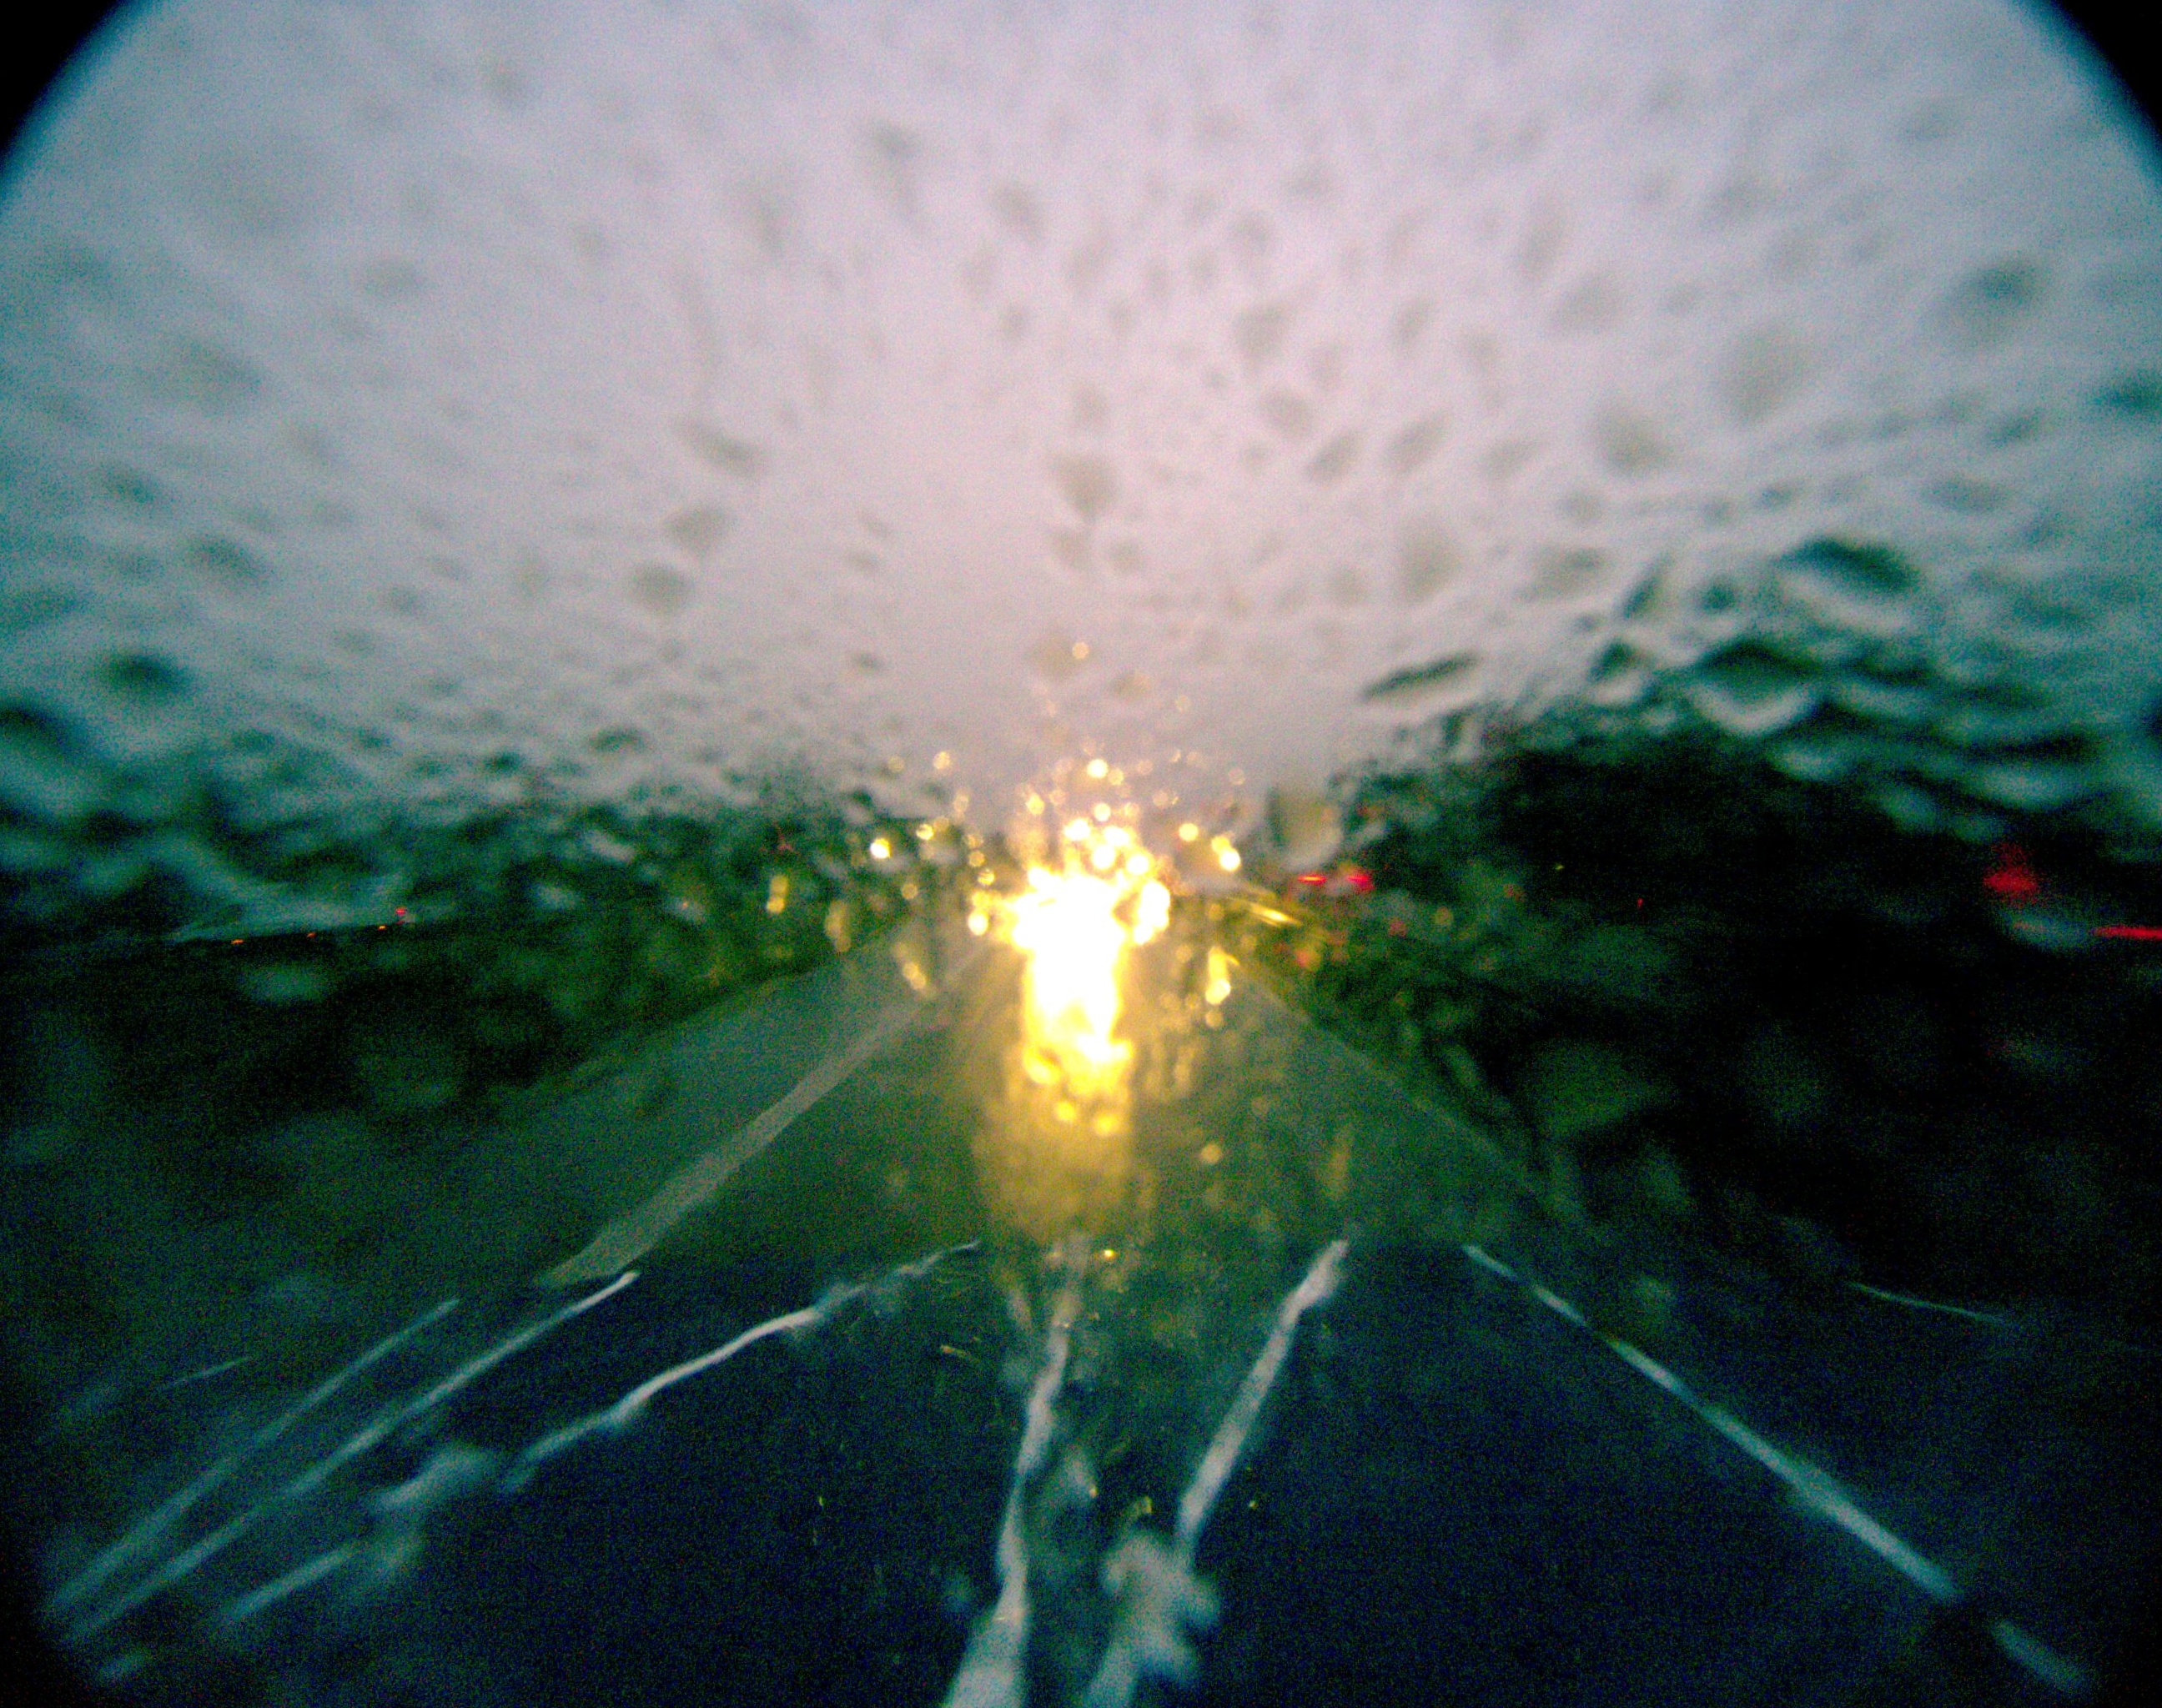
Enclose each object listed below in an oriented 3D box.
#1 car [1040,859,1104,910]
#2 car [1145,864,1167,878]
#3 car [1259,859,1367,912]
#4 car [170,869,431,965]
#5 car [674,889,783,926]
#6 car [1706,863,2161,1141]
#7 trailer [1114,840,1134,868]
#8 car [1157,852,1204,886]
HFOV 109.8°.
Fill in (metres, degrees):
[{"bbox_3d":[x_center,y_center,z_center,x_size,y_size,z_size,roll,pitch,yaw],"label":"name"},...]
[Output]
[{"bbox_3d":[-0.222,0.927,24.877,1.886,1.513,4.001,-1,0,2],"label":"car"},{"bbox_3d":[8.895,2.060,90.531,2.099,1.583,4.479,0,-2,-1],"label":"car"},{"bbox_3d":[7.215,0.922,24.157,1.999,1.463,4.472,0,0,-1],"label":"car"},{"bbox_3d":[-29.345,2.257,28.991,6.398,2.949,2.284,-3,2,-27],"label":"car"},{"bbox_3d":[-17.031,2.568,36.837,1.738,1.406,4.386,-5,-1,45],"label":"car"},{"bbox_3d":[6.856,0.844,5.358,1.650,1.492,4.000,0,0,1],"label":"car"},{"bbox_3d":[7.238,0.028,129.528,2.634,4.558,13.325,0,0,1],"label":"trailer"},{"bbox_3d":[6.570,0.948,50.830,1.999,2.002,4.997,-4,0,-5],"label":"car"}]
